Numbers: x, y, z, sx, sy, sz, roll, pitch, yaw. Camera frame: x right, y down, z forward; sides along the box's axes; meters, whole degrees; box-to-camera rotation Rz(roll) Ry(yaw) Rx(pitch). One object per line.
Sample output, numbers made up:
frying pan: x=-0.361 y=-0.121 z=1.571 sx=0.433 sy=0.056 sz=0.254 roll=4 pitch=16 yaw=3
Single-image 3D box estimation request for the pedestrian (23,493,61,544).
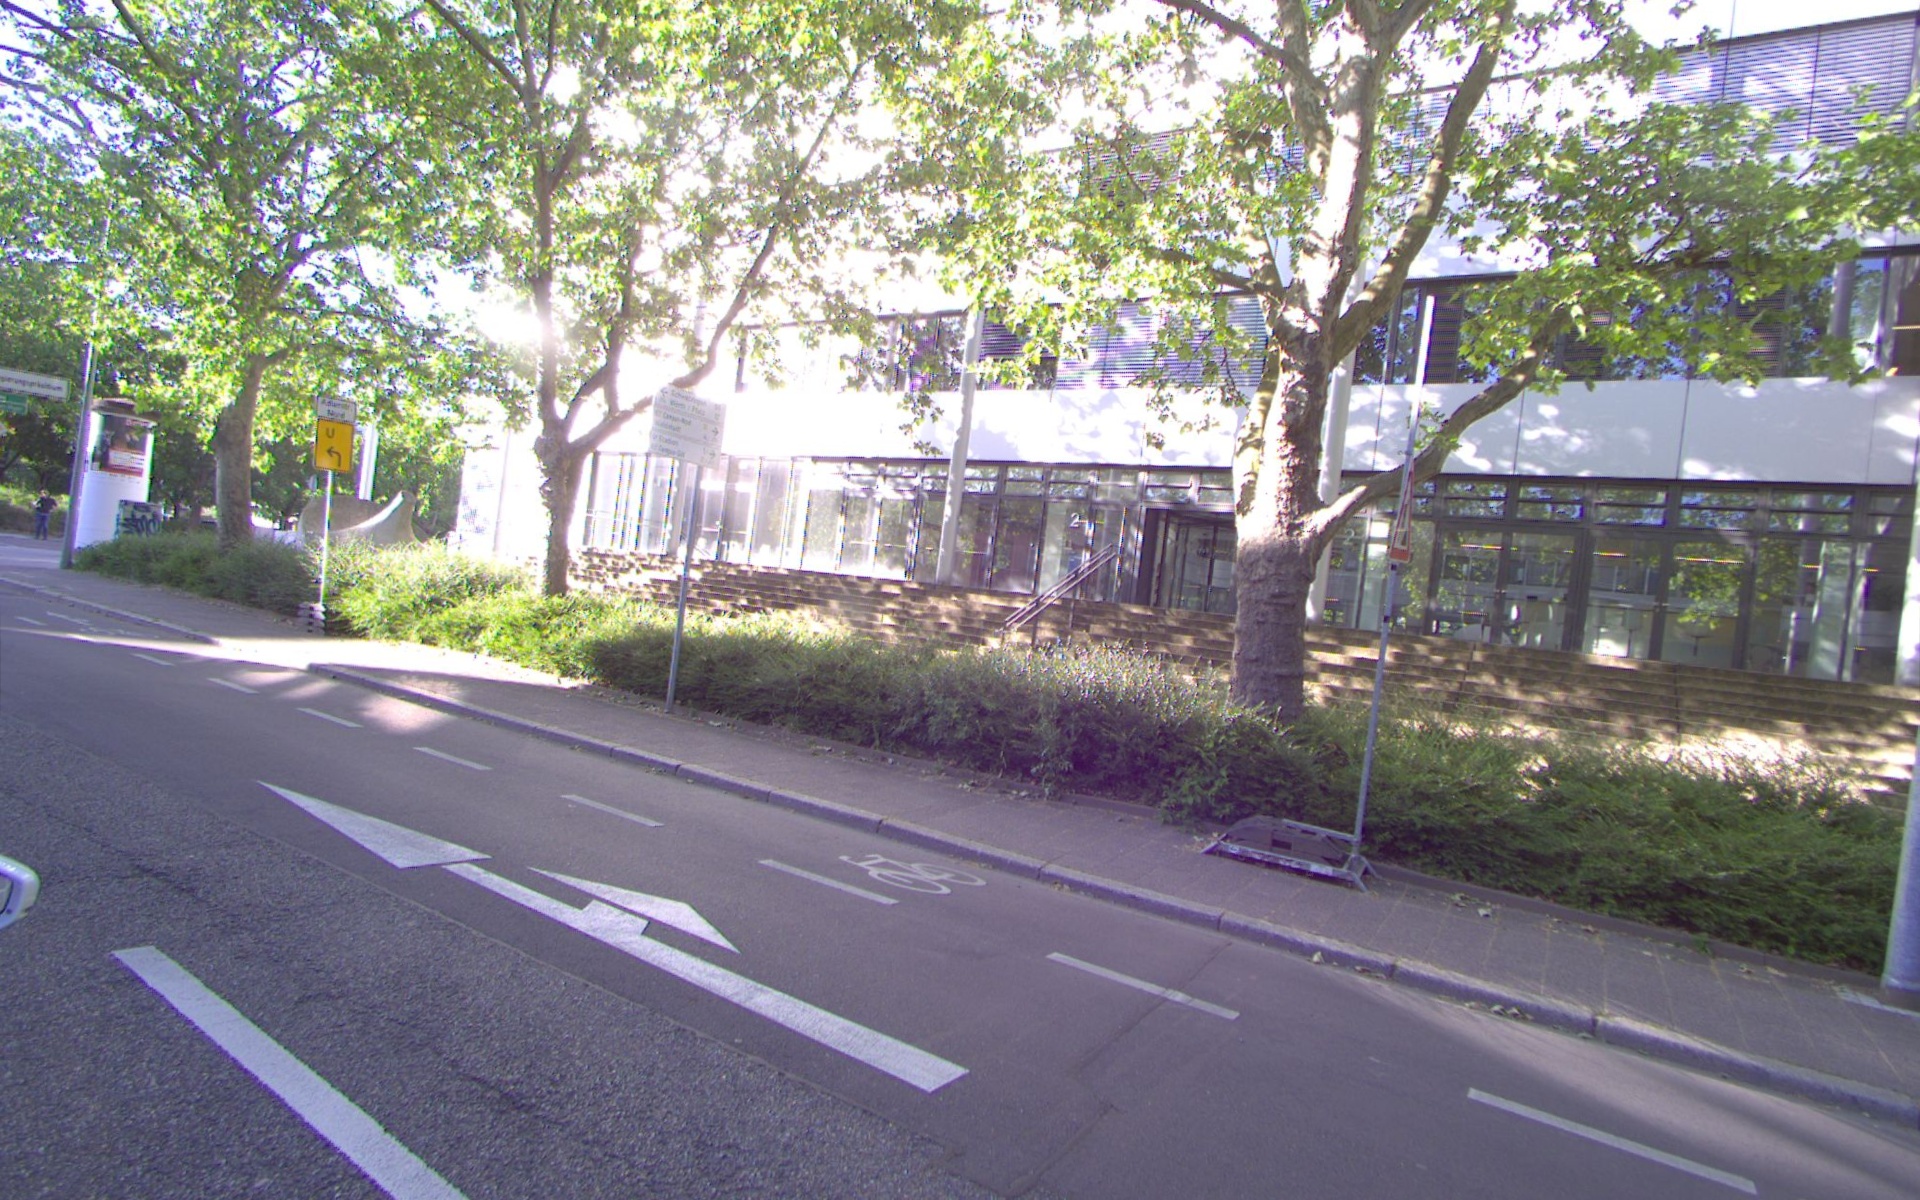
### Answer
pedestrian: x=-34.962 y=-3.095 z=38.337 sx=0.730 sy=1.799 sz=0.724 roll=8 pitch=-1 yaw=-28
